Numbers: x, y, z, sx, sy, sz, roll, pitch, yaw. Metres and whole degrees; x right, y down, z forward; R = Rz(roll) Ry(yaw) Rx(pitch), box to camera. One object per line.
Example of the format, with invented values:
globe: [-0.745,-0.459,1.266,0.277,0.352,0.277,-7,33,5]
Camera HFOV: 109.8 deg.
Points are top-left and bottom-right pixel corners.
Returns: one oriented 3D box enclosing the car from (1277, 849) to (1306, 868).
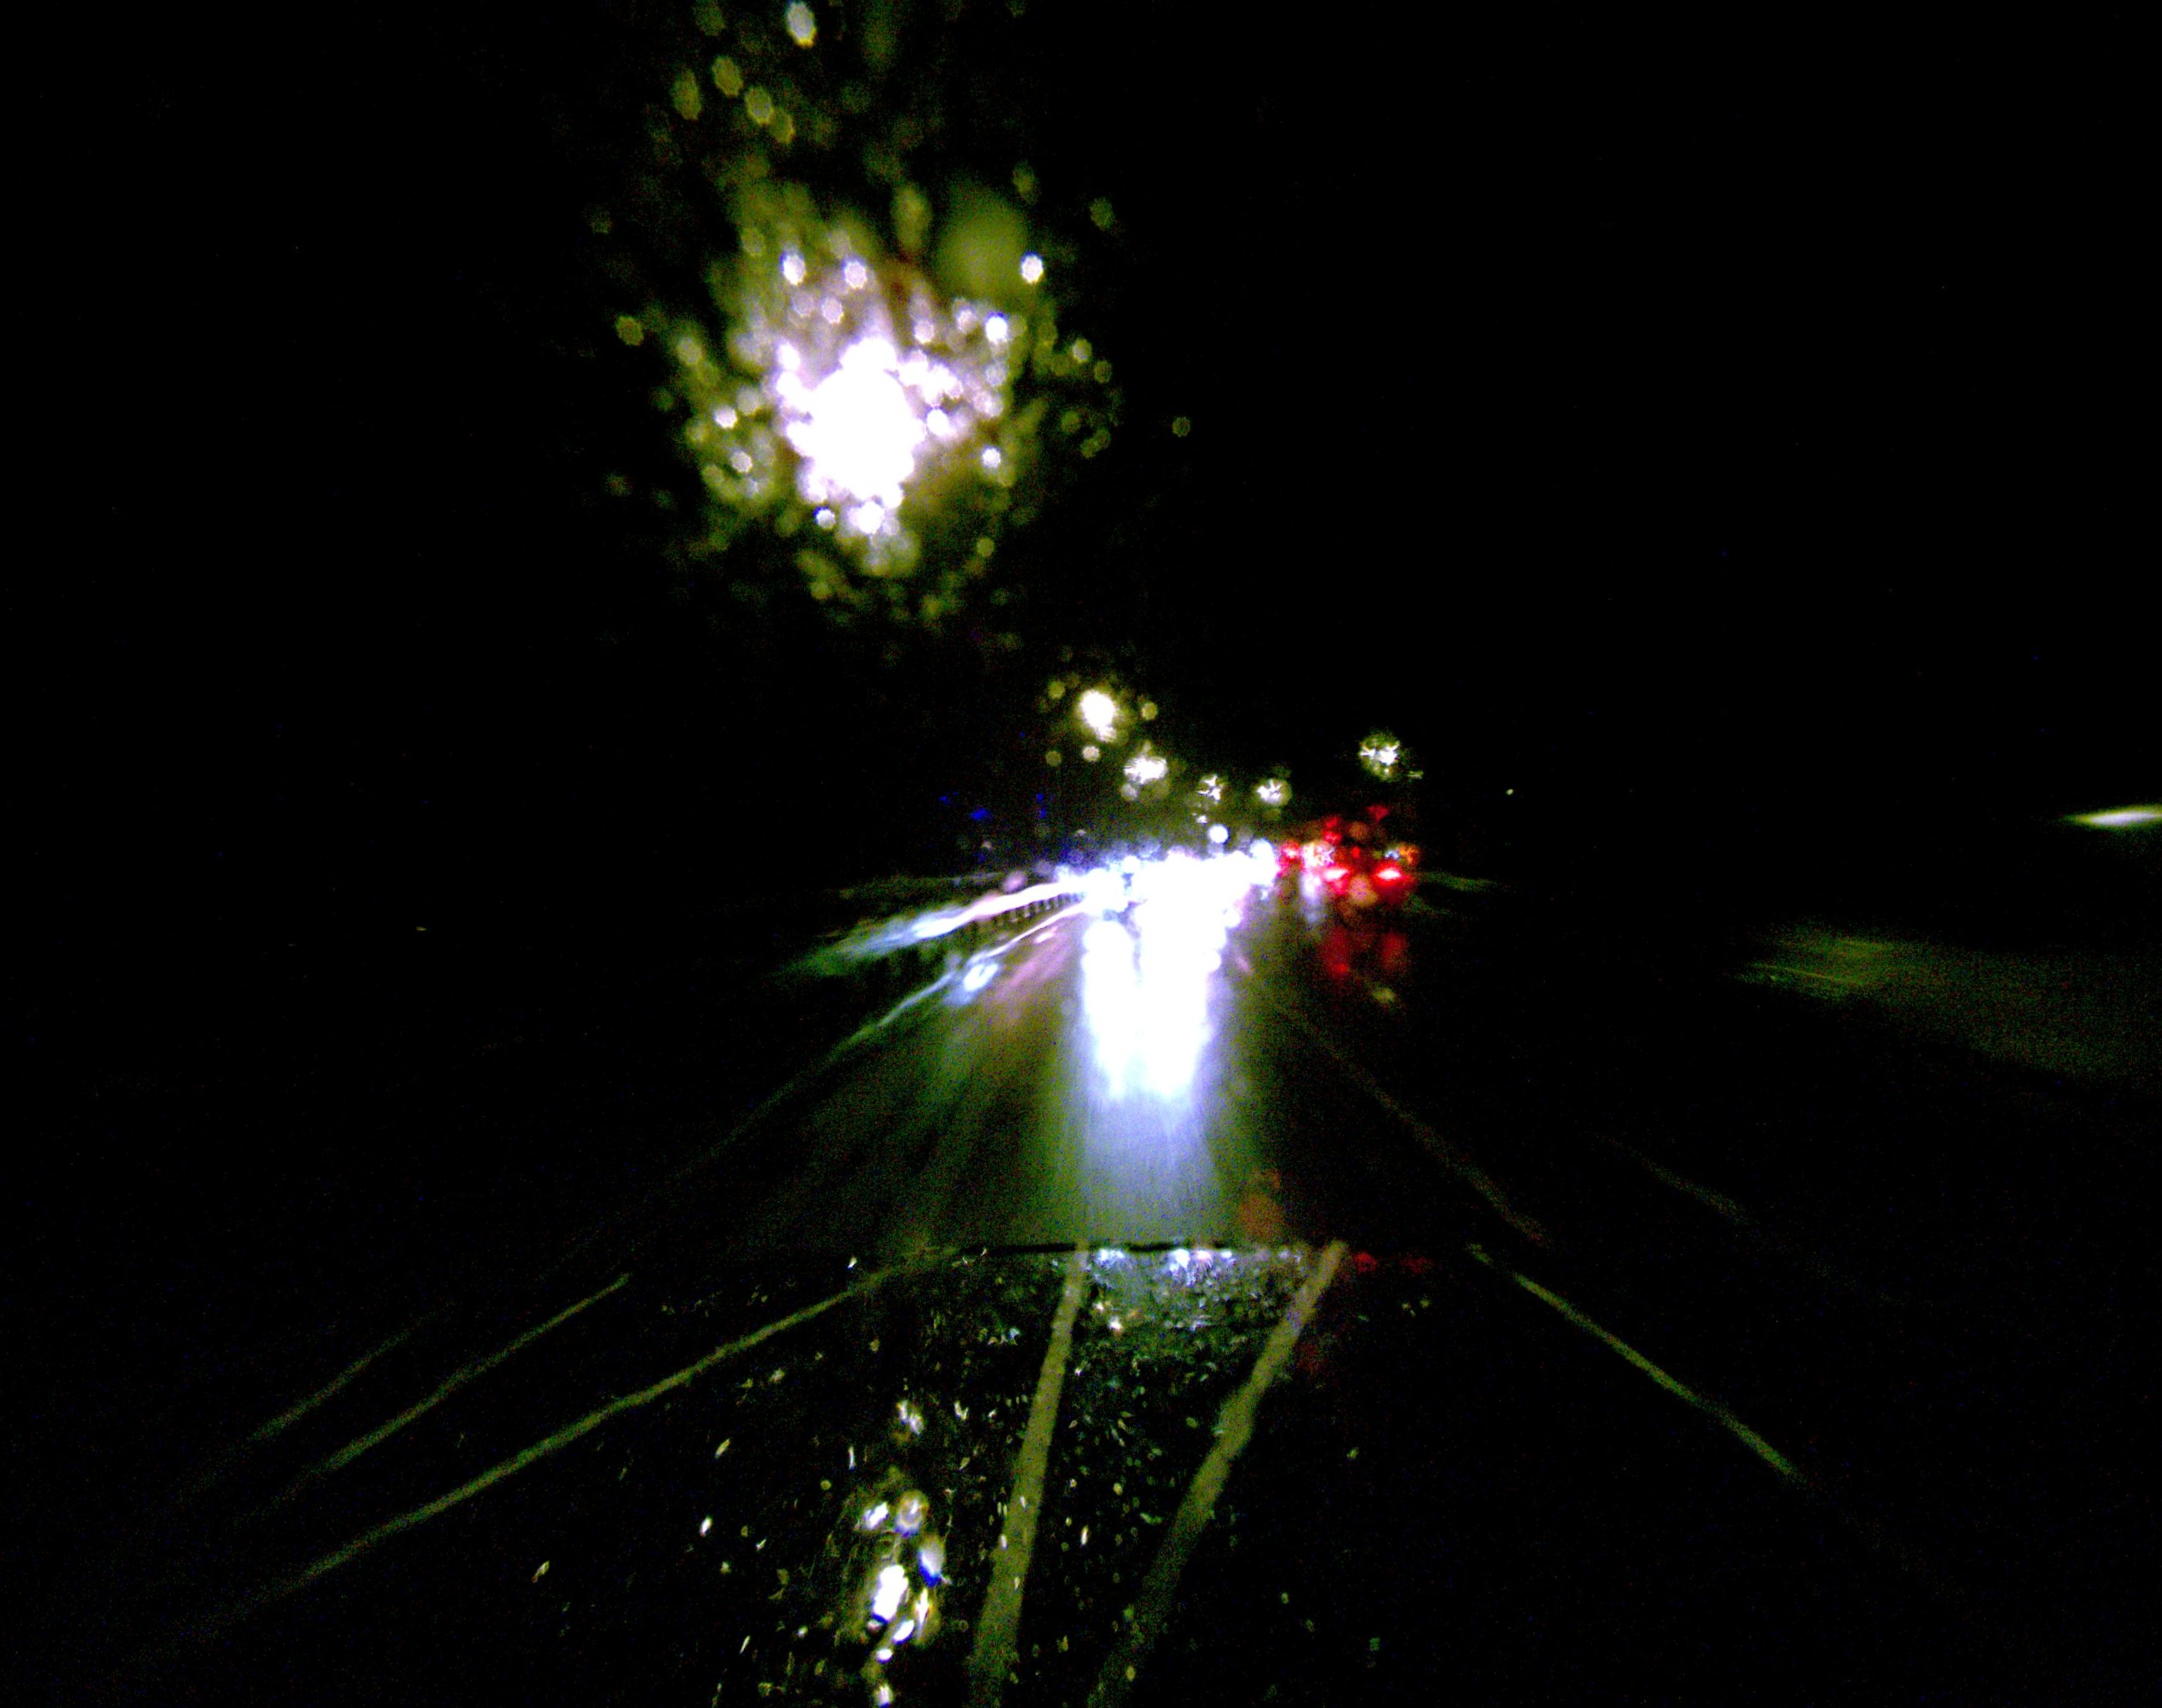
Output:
car: [16.824,0.362,60.672,1.897,1.431,4.068,-1,0,19]

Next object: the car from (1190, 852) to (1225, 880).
car: [7.304,0.699,43.734,1.521,1.516,3.111,-2,-1,17]

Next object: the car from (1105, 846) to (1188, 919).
car: [1.756,0.705,19.755,1.926,1.704,4.242,0,-1,7]

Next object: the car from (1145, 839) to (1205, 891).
car: [4.051,0.428,32.182,1.996,2.002,4.004,-2,1,14]

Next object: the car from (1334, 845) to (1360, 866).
car: [21.439,0.128,61.241,1.472,1.575,3.197,-2,-1,28]

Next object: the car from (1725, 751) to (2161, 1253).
car: [4.866,0.546,2.803,1.758,1.850,4.001,0,0,4]

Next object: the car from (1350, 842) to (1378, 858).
car: [32.218,-0.446,86.354,2.000,1.664,4.627,-2,-1,32]

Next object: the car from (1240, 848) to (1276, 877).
car: [15.871,0.739,68.056,1.996,2.002,4.004,-8,1,28]

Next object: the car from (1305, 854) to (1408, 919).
car: [6.596,0.726,18.597,1.817,1.396,4.052,-1,0,12]

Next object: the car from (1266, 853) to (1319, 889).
car: [9.566,0.717,34.644,1.685,1.383,4.452,-3,1,8]

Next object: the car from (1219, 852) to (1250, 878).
car: [10.592,0.748,52.324,1.304,1.519,3.051,-10,-4,22]
